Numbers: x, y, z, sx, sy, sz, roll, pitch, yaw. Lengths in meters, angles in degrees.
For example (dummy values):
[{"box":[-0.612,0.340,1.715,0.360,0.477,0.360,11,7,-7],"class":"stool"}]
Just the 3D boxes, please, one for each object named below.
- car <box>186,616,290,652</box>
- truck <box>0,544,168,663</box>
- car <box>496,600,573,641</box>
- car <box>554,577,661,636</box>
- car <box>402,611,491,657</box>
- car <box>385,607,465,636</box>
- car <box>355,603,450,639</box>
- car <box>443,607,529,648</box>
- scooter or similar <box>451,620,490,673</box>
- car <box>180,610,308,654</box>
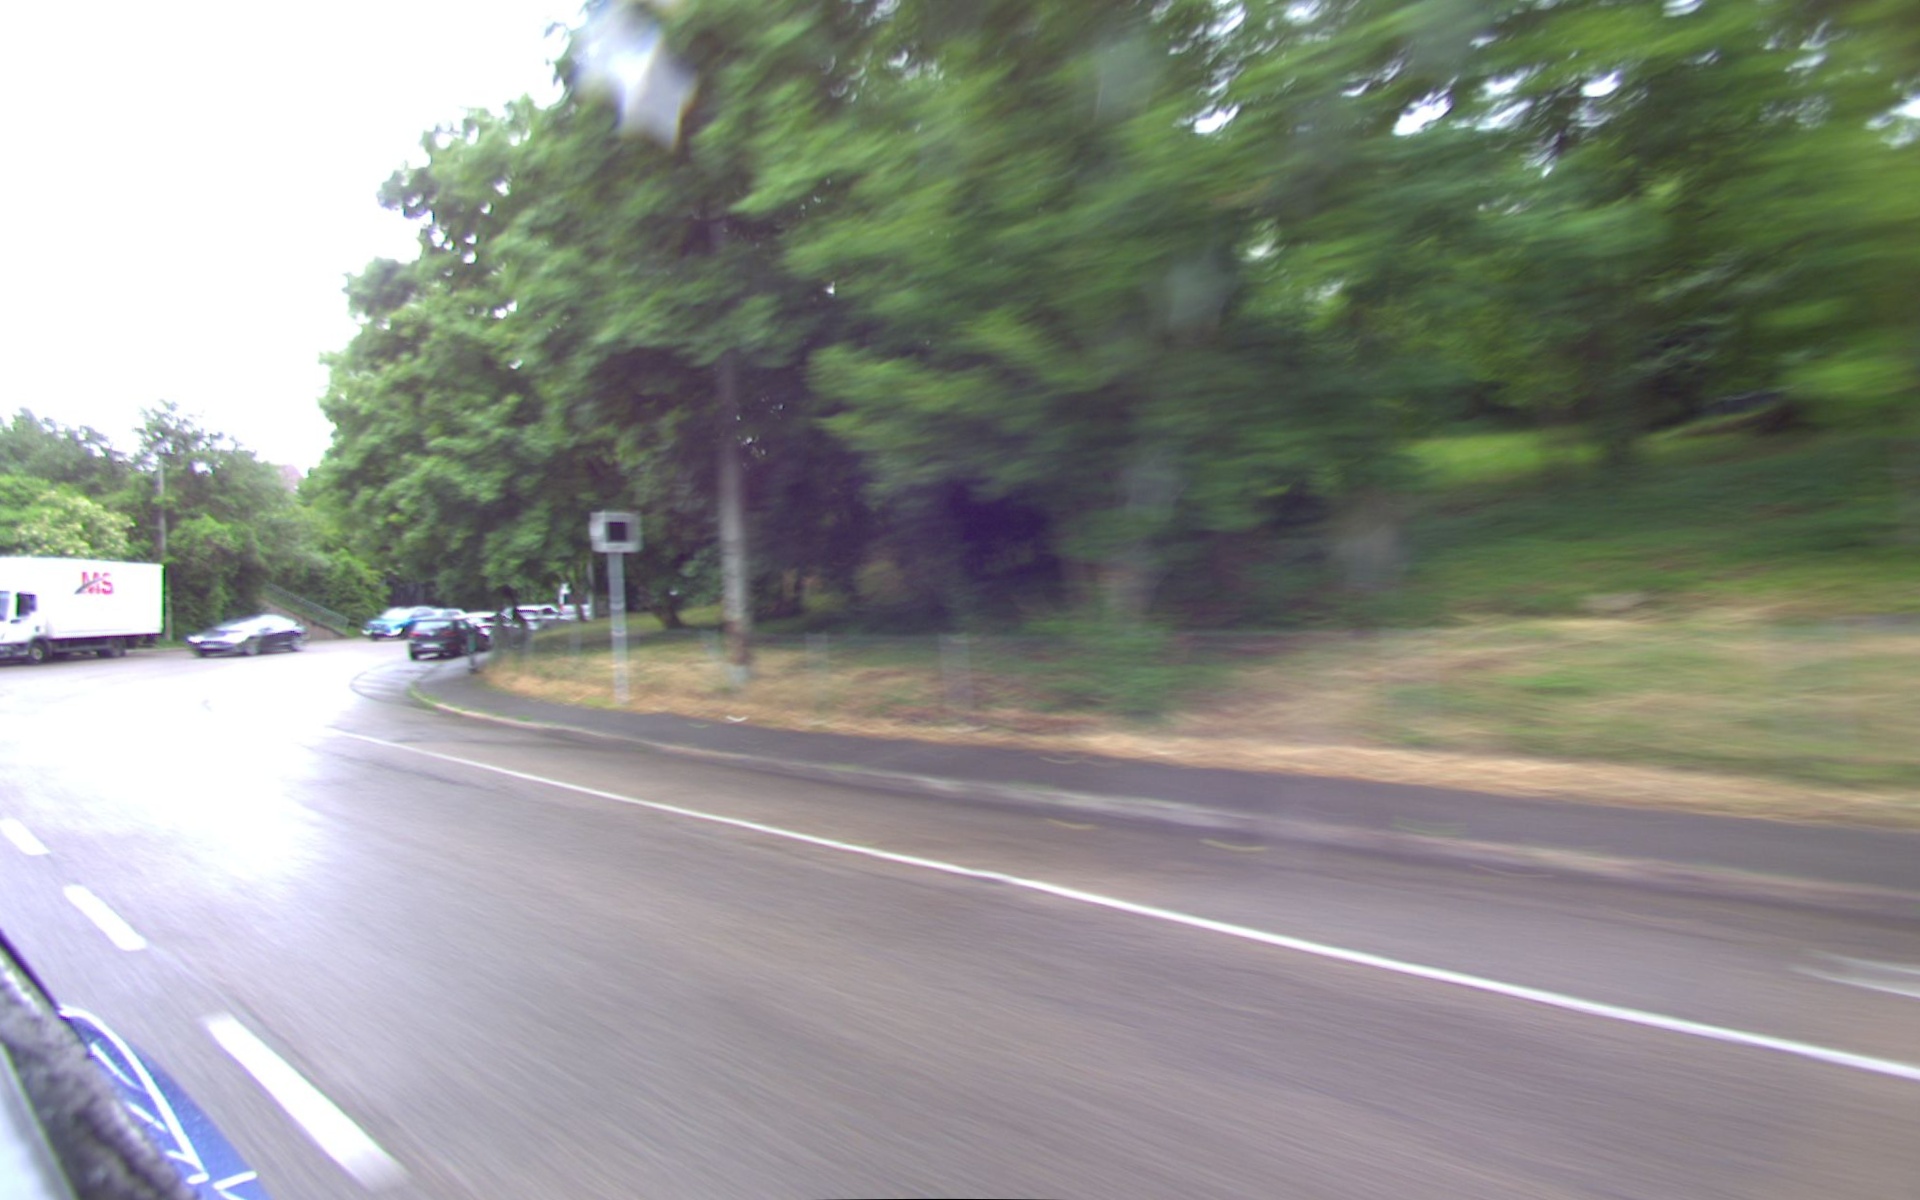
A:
[{"box":[-32.516,1.494,45.722,1.702,1.455,4.124,-2,0,1],"class":"car"},{"box":[-31.130,0.162,34.511,2.967,3.601,8.355,-1,0,-11],"class":"truck"},{"box":[-19.464,0.913,46.452,1.784,1.594,4.025,-1,2,1],"class":"car"},{"box":[-18.509,0.253,53.540,2.062,2.568,6.317,7,4,15],"class":"car"},{"box":[-18.494,1.184,36.632,1.750,1.453,4.024,-1,1,-10],"class":"car"},{"box":[-30.779,1.210,58.332,1.745,1.411,4.075,-4,0,15],"class":"car"},{"box":[-27.801,1.017,50.669,1.975,1.683,4.522,-2,-1,6],"class":"car"},{"box":[-19.392,1.080,41.591,1.732,1.467,4.049,-1,1,-2],"class":"car"},{"box":[-13.026,1.227,26.951,0.600,1.277,1.442,-5,2,-16],"class":"scooter or similar"},{"box":[-27.396,1.184,38.935,1.872,1.550,4.502,-2,-1,-2],"class":"car"}]
